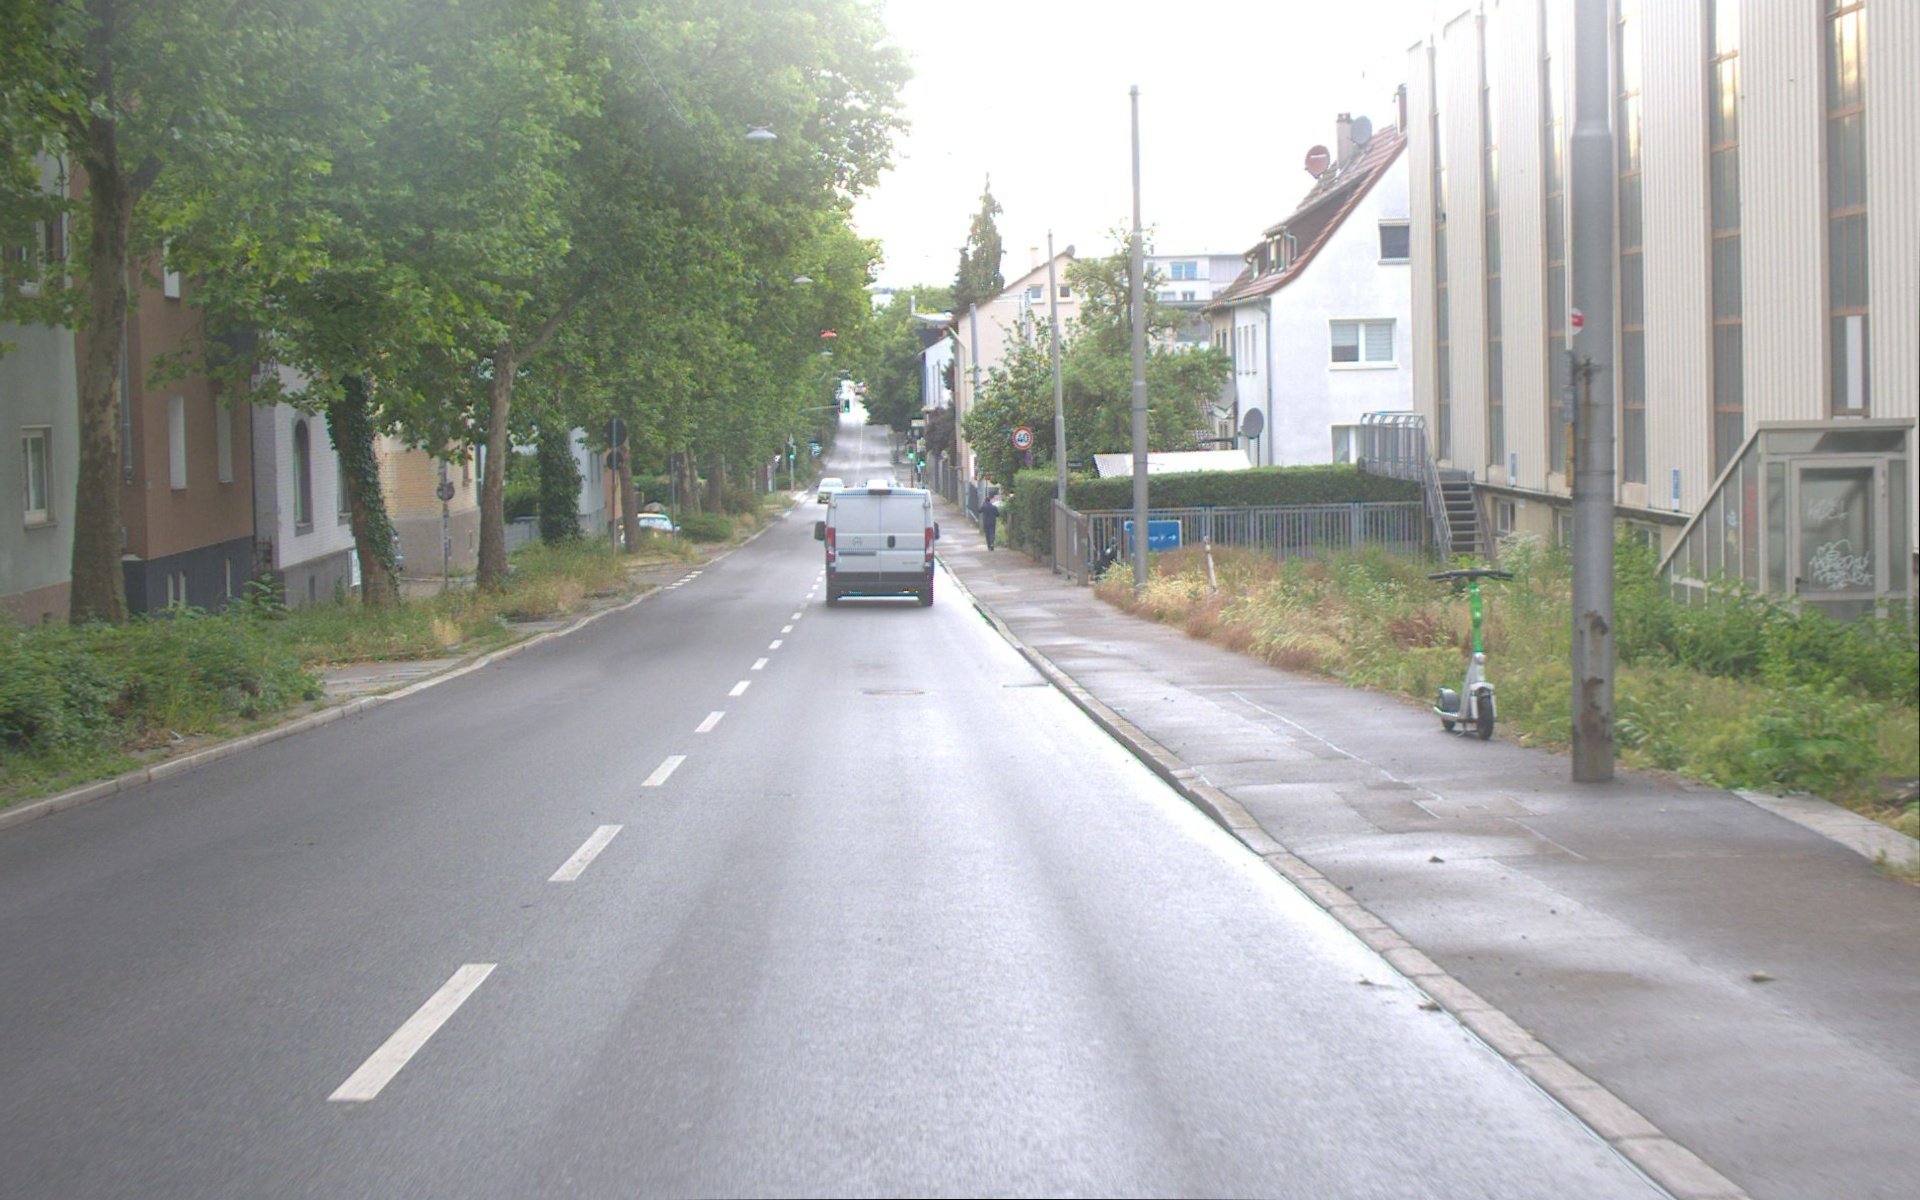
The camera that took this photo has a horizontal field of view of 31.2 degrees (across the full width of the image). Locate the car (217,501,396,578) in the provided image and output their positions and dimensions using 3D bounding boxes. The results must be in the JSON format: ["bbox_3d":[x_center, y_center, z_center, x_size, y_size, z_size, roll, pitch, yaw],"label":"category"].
[{"bbox_3d":[-16.665,-1.553,87.819,4.196,1.885,2.000,-1,2,-2],"label":"car"}]

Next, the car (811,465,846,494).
[{"bbox_3d":[-8.142,-7.445,212.668,1.993,1.703,4.261,-1,1,-4],"label":"car"}]

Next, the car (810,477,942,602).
[{"bbox_3d":[-1.655,-1.203,66.060,2.346,2.152,4.779,-2,3,-3],"label":"car"}]

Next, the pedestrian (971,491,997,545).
[{"bbox_3d":[0.769,-2.589,108.955,0.816,1.692,0.729,-1,1,0],"label":"pedestrian"}]

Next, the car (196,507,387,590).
[{"bbox_3d":[-15.958,-1.245,82.207,4.196,1.885,2.000,-1,2,-2],"label":"car"}]

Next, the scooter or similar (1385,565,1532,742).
[{"bbox_3d":[3.448,0.348,23.909,0.605,1.158,1.700,-1,1,-5],"label":"scooter or similar"}]
